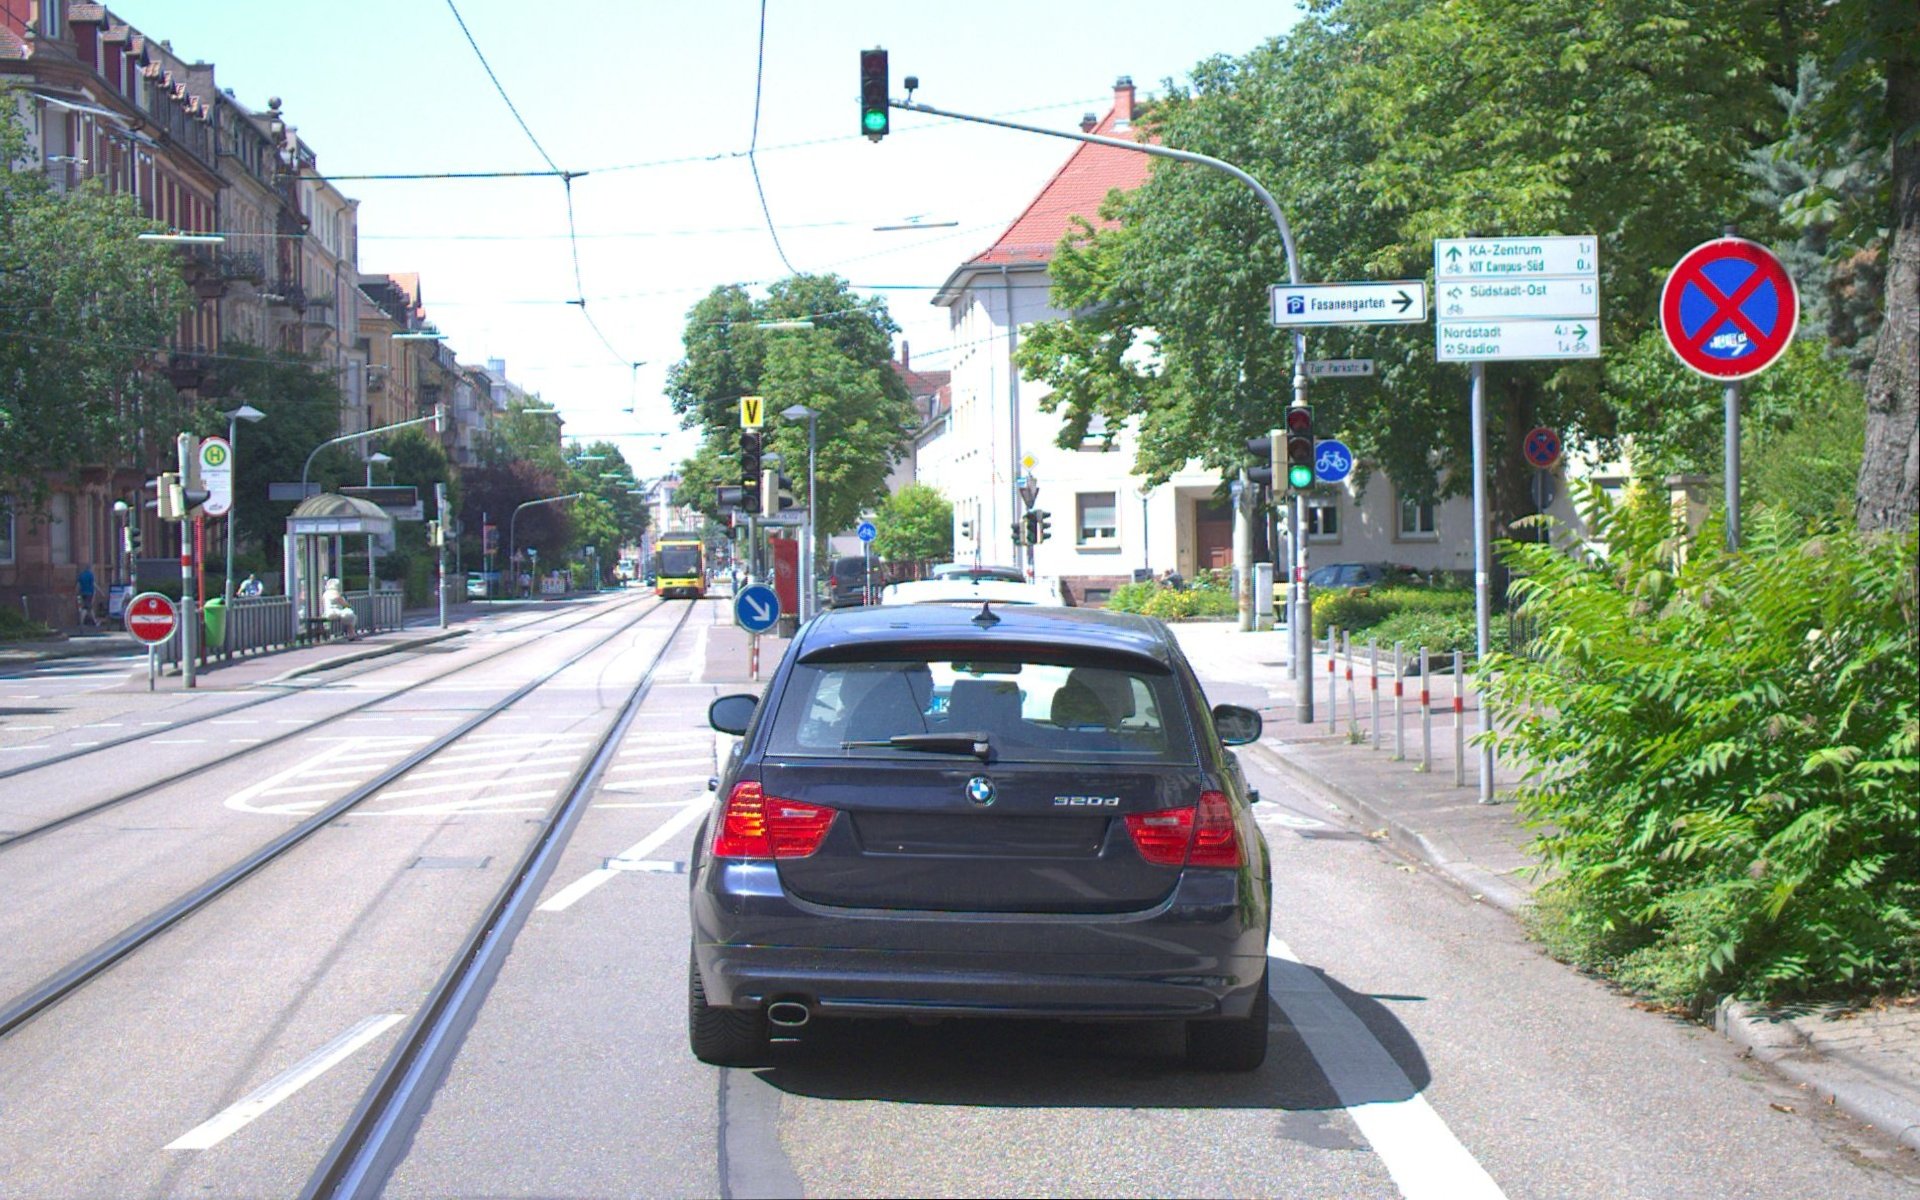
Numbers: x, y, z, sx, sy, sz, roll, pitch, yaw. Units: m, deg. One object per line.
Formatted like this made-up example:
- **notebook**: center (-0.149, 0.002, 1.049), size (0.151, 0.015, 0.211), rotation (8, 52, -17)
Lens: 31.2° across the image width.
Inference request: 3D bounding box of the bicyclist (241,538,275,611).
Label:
- **bicyclist**: center (-18.036, -0.660, 88.324), size (0.722, 1.864, 0.825), rotation (-1, 1, -4)

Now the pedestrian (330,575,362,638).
- **pedestrian**: center (-12.198, 0.118, 68.291), size (0.613, 1.238, 0.628), rotation (-1, 0, -9)

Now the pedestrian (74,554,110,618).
- **pedestrian**: center (-24.457, -0.401, 96.883), size (0.640, 1.805, 0.739), rotation (0, 1, 32)

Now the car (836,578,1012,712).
- **car**: center (-0.426, 0.442, 36.481), size (1.691, 1.318, 3.822), rotation (-1, 1, -3)

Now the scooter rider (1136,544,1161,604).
- **scooter rider**: center (5.357, -0.737, 97.674), size (0.590, 1.681, 0.528), rotation (-1, 1, -9)

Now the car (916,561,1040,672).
- **car**: center (0.231, 0.203, 48.906), size (1.691, 1.508, 3.821), rotation (0, 1, 0)

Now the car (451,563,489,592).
- **car**: center (-27.387, -1.225, 192.205), size (1.787, 1.580, 4.001), rotation (1, 0, -12)

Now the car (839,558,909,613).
- **car**: center (-3.002, -0.525, 119.012), size (1.993, 1.842, 4.001), rotation (-1, 1, -7)

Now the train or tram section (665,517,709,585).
- **train or tram section**: center (-14.244, -2.559, 179.958), size (2.190, 3.470, 8.846), rotation (-1, 1, -4)

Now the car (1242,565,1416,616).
- **car**: center (9.182, -0.232, 85.553), size (3.994, 1.239, 1.621), rotation (0, 1, 32)

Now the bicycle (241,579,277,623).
- **bicycle**: center (-18.003, 0.025, 88.323), size (0.728, 1.098, 1.716), rotation (-1, 1, -5)

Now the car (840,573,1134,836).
- **car**: center (0.158, 0.593, 21.795), size (1.685, 1.479, 3.684), rotation (-1, 1, 0)

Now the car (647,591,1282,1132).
- **car**: center (0.060, 0.716, 11.784), size (1.722, 1.404, 4.565), rotation (1, 1, 1)
